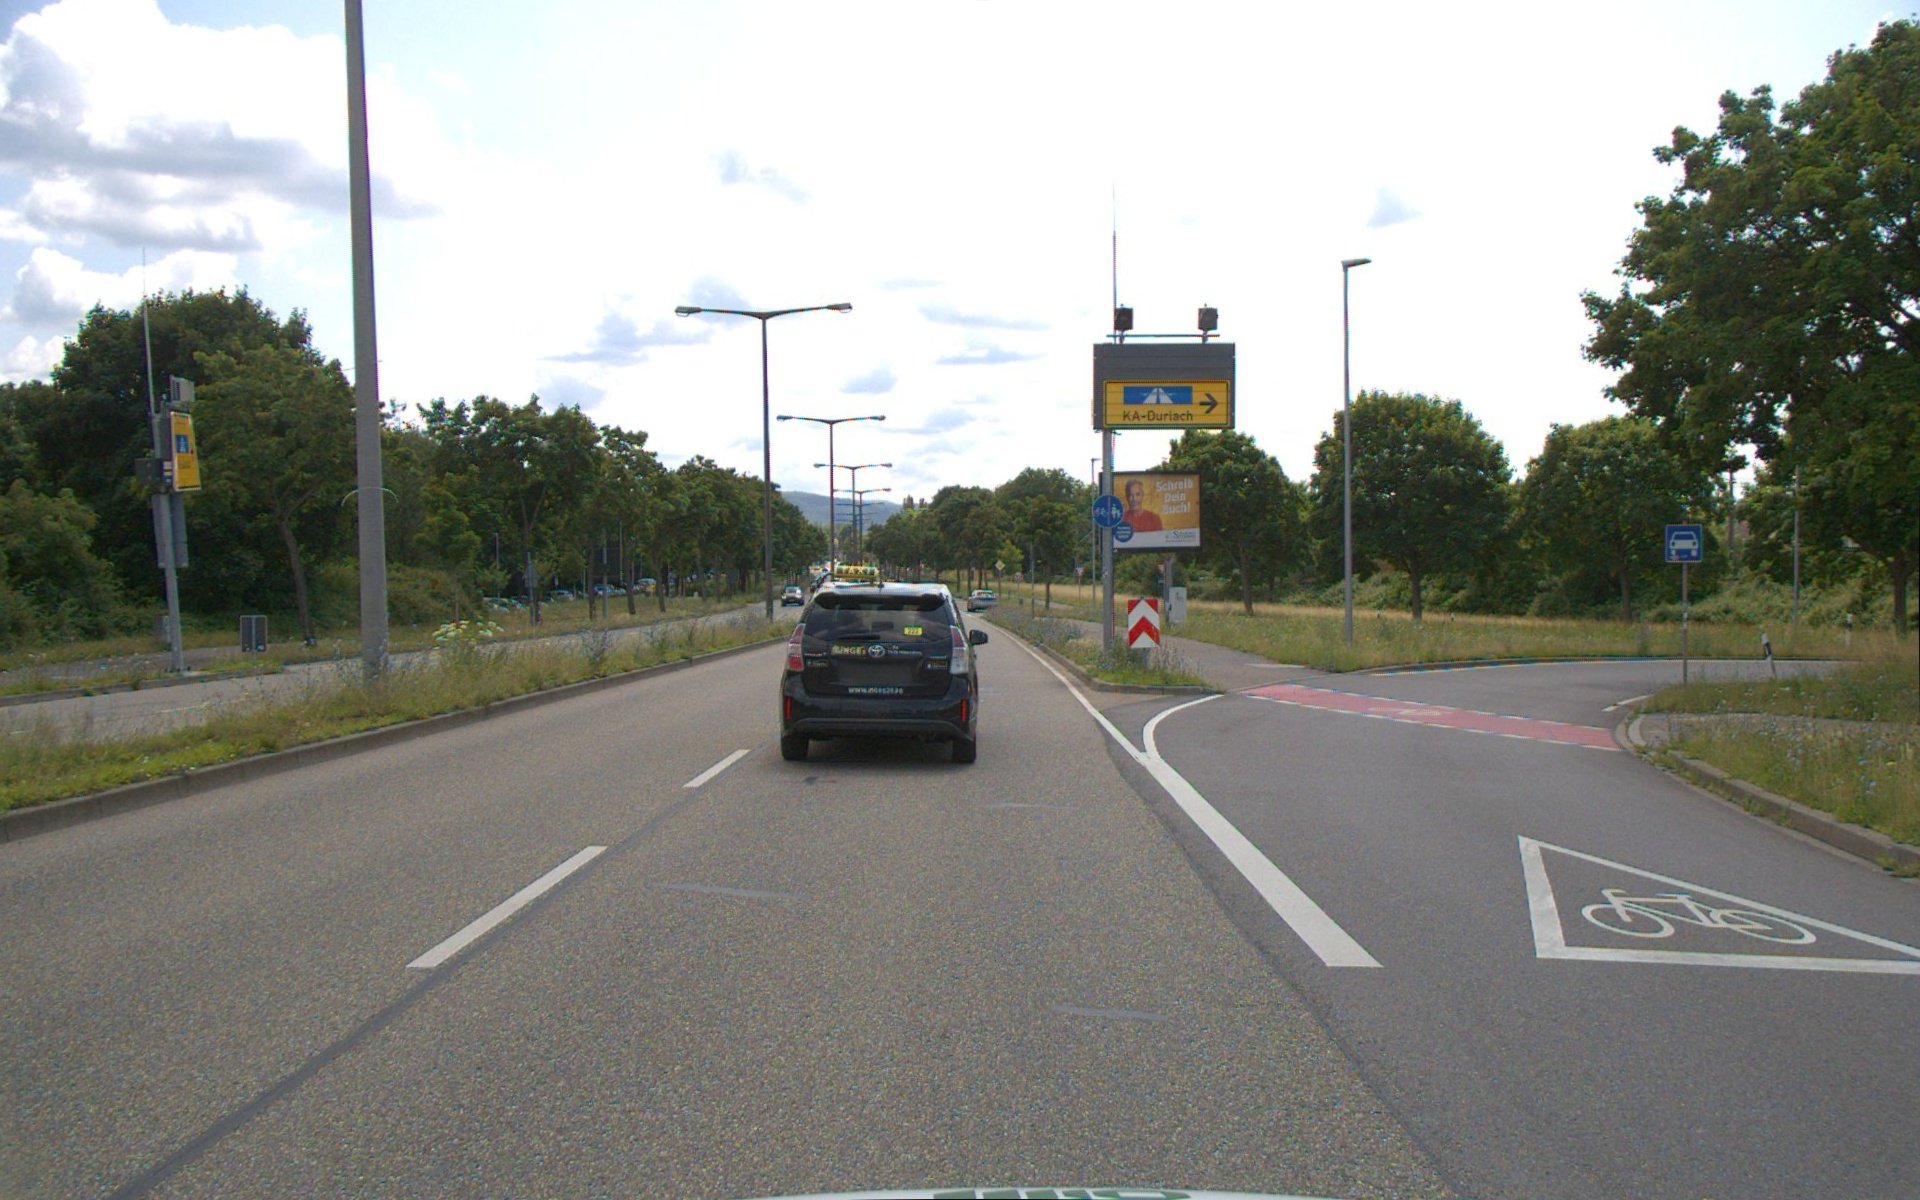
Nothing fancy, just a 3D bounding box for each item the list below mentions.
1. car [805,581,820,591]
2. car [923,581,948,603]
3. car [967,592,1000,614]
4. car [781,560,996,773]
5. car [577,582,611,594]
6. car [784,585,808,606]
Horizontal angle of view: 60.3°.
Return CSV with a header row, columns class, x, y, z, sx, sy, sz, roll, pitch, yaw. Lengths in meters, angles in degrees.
class,x,y,z,sx,sy,sz,roll,pitch,yaw
car,-20.007,-1.891,224.109,1.671,1.452,3.664,-1,0,-12
car,-2.064,-0.680,137.178,1.954,1.690,3.998,1,2,-3
car,1.783,0.191,125.950,1.956,1.534,3.993,1,2,-8
car,-0.691,0.504,15.582,1.744,1.713,3.998,1,2,-3
car,-45.484,-1.466,205.623,3.707,1.412,1.786,1,1,0
car,-15.088,-0.410,152.499,1.839,1.821,4.726,-2,0,-2
